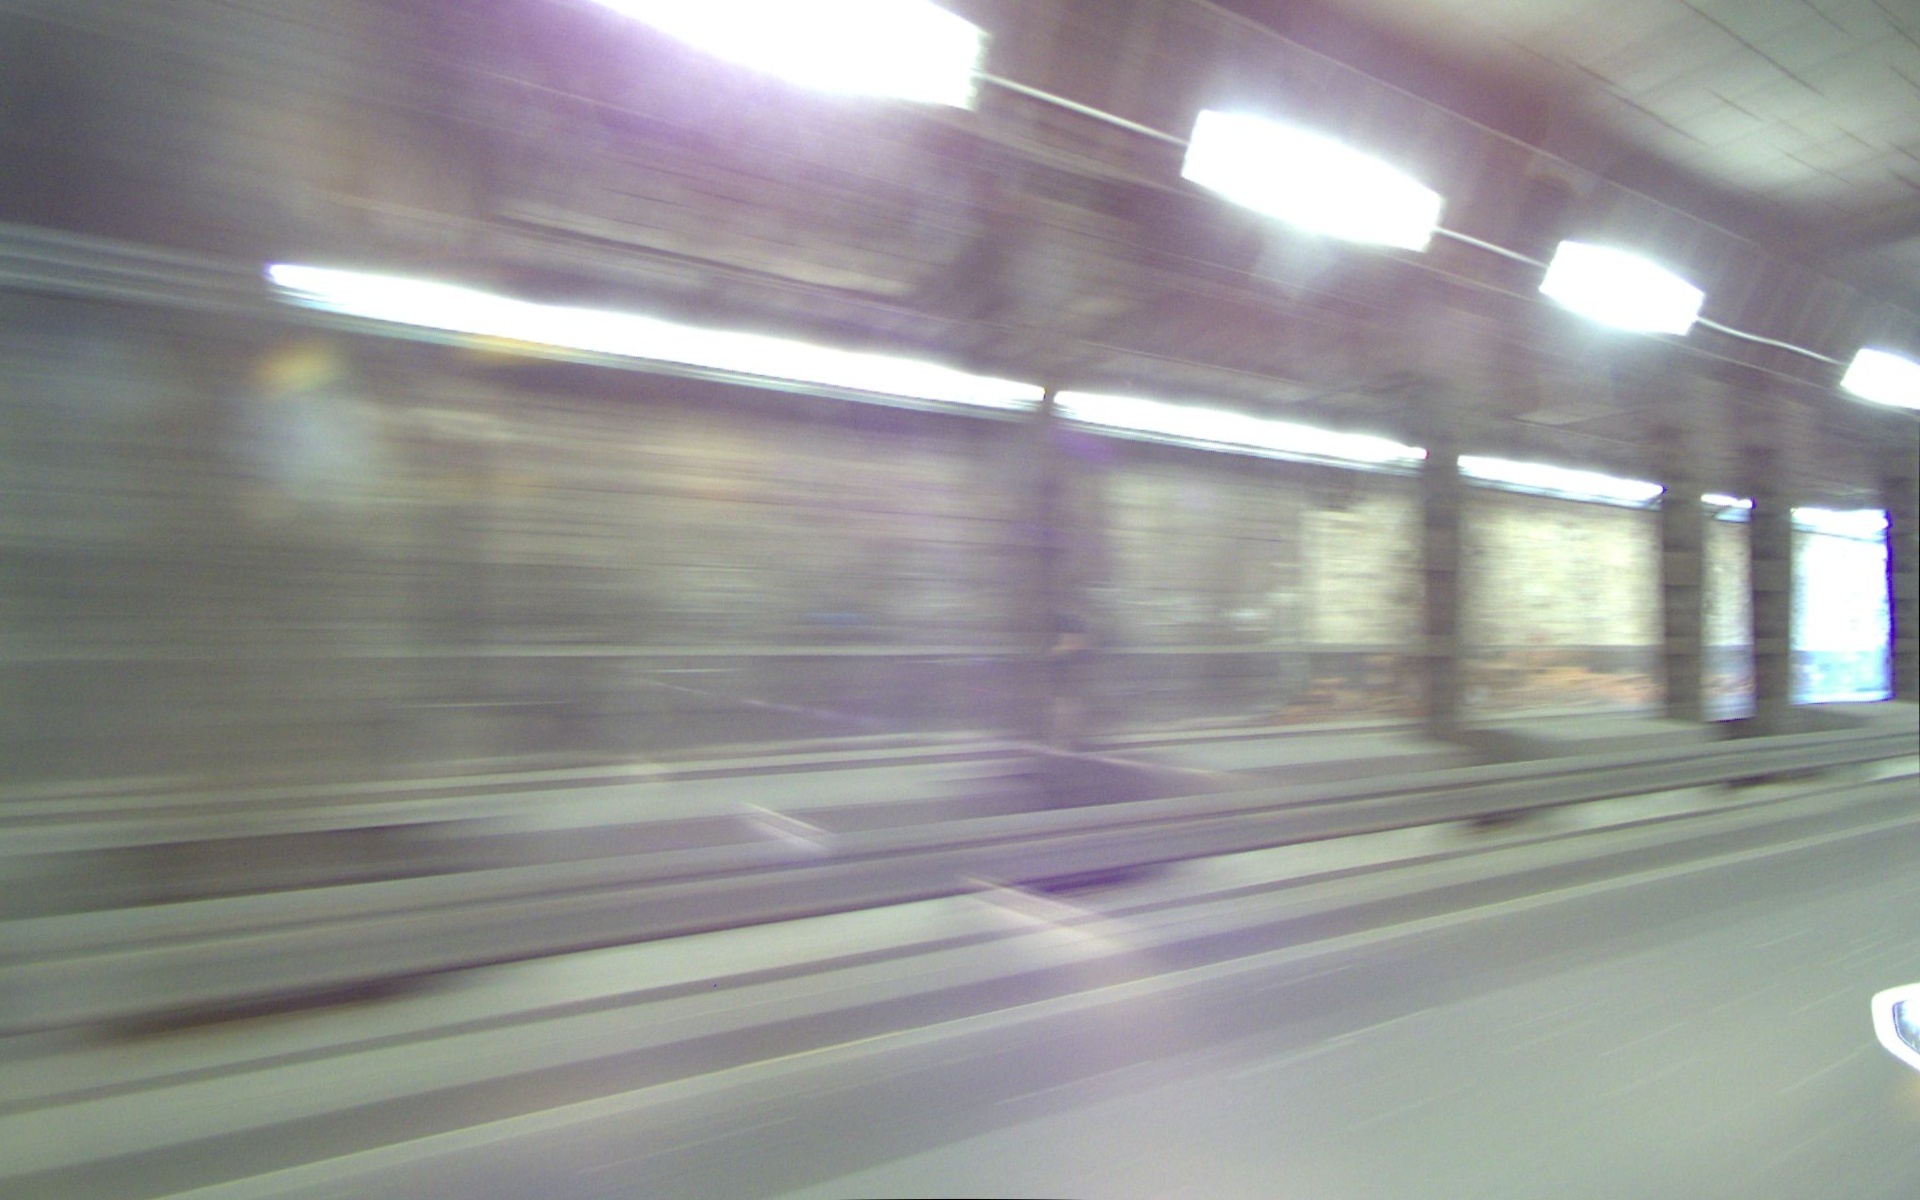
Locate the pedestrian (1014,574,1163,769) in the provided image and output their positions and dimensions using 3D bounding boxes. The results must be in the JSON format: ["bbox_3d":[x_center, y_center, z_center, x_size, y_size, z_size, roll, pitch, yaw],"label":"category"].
[{"bbox_3d":[1.465,0.796,11.470,1.339,2.082,0.954,3,-2,-29],"label":"pedestrian"}]
